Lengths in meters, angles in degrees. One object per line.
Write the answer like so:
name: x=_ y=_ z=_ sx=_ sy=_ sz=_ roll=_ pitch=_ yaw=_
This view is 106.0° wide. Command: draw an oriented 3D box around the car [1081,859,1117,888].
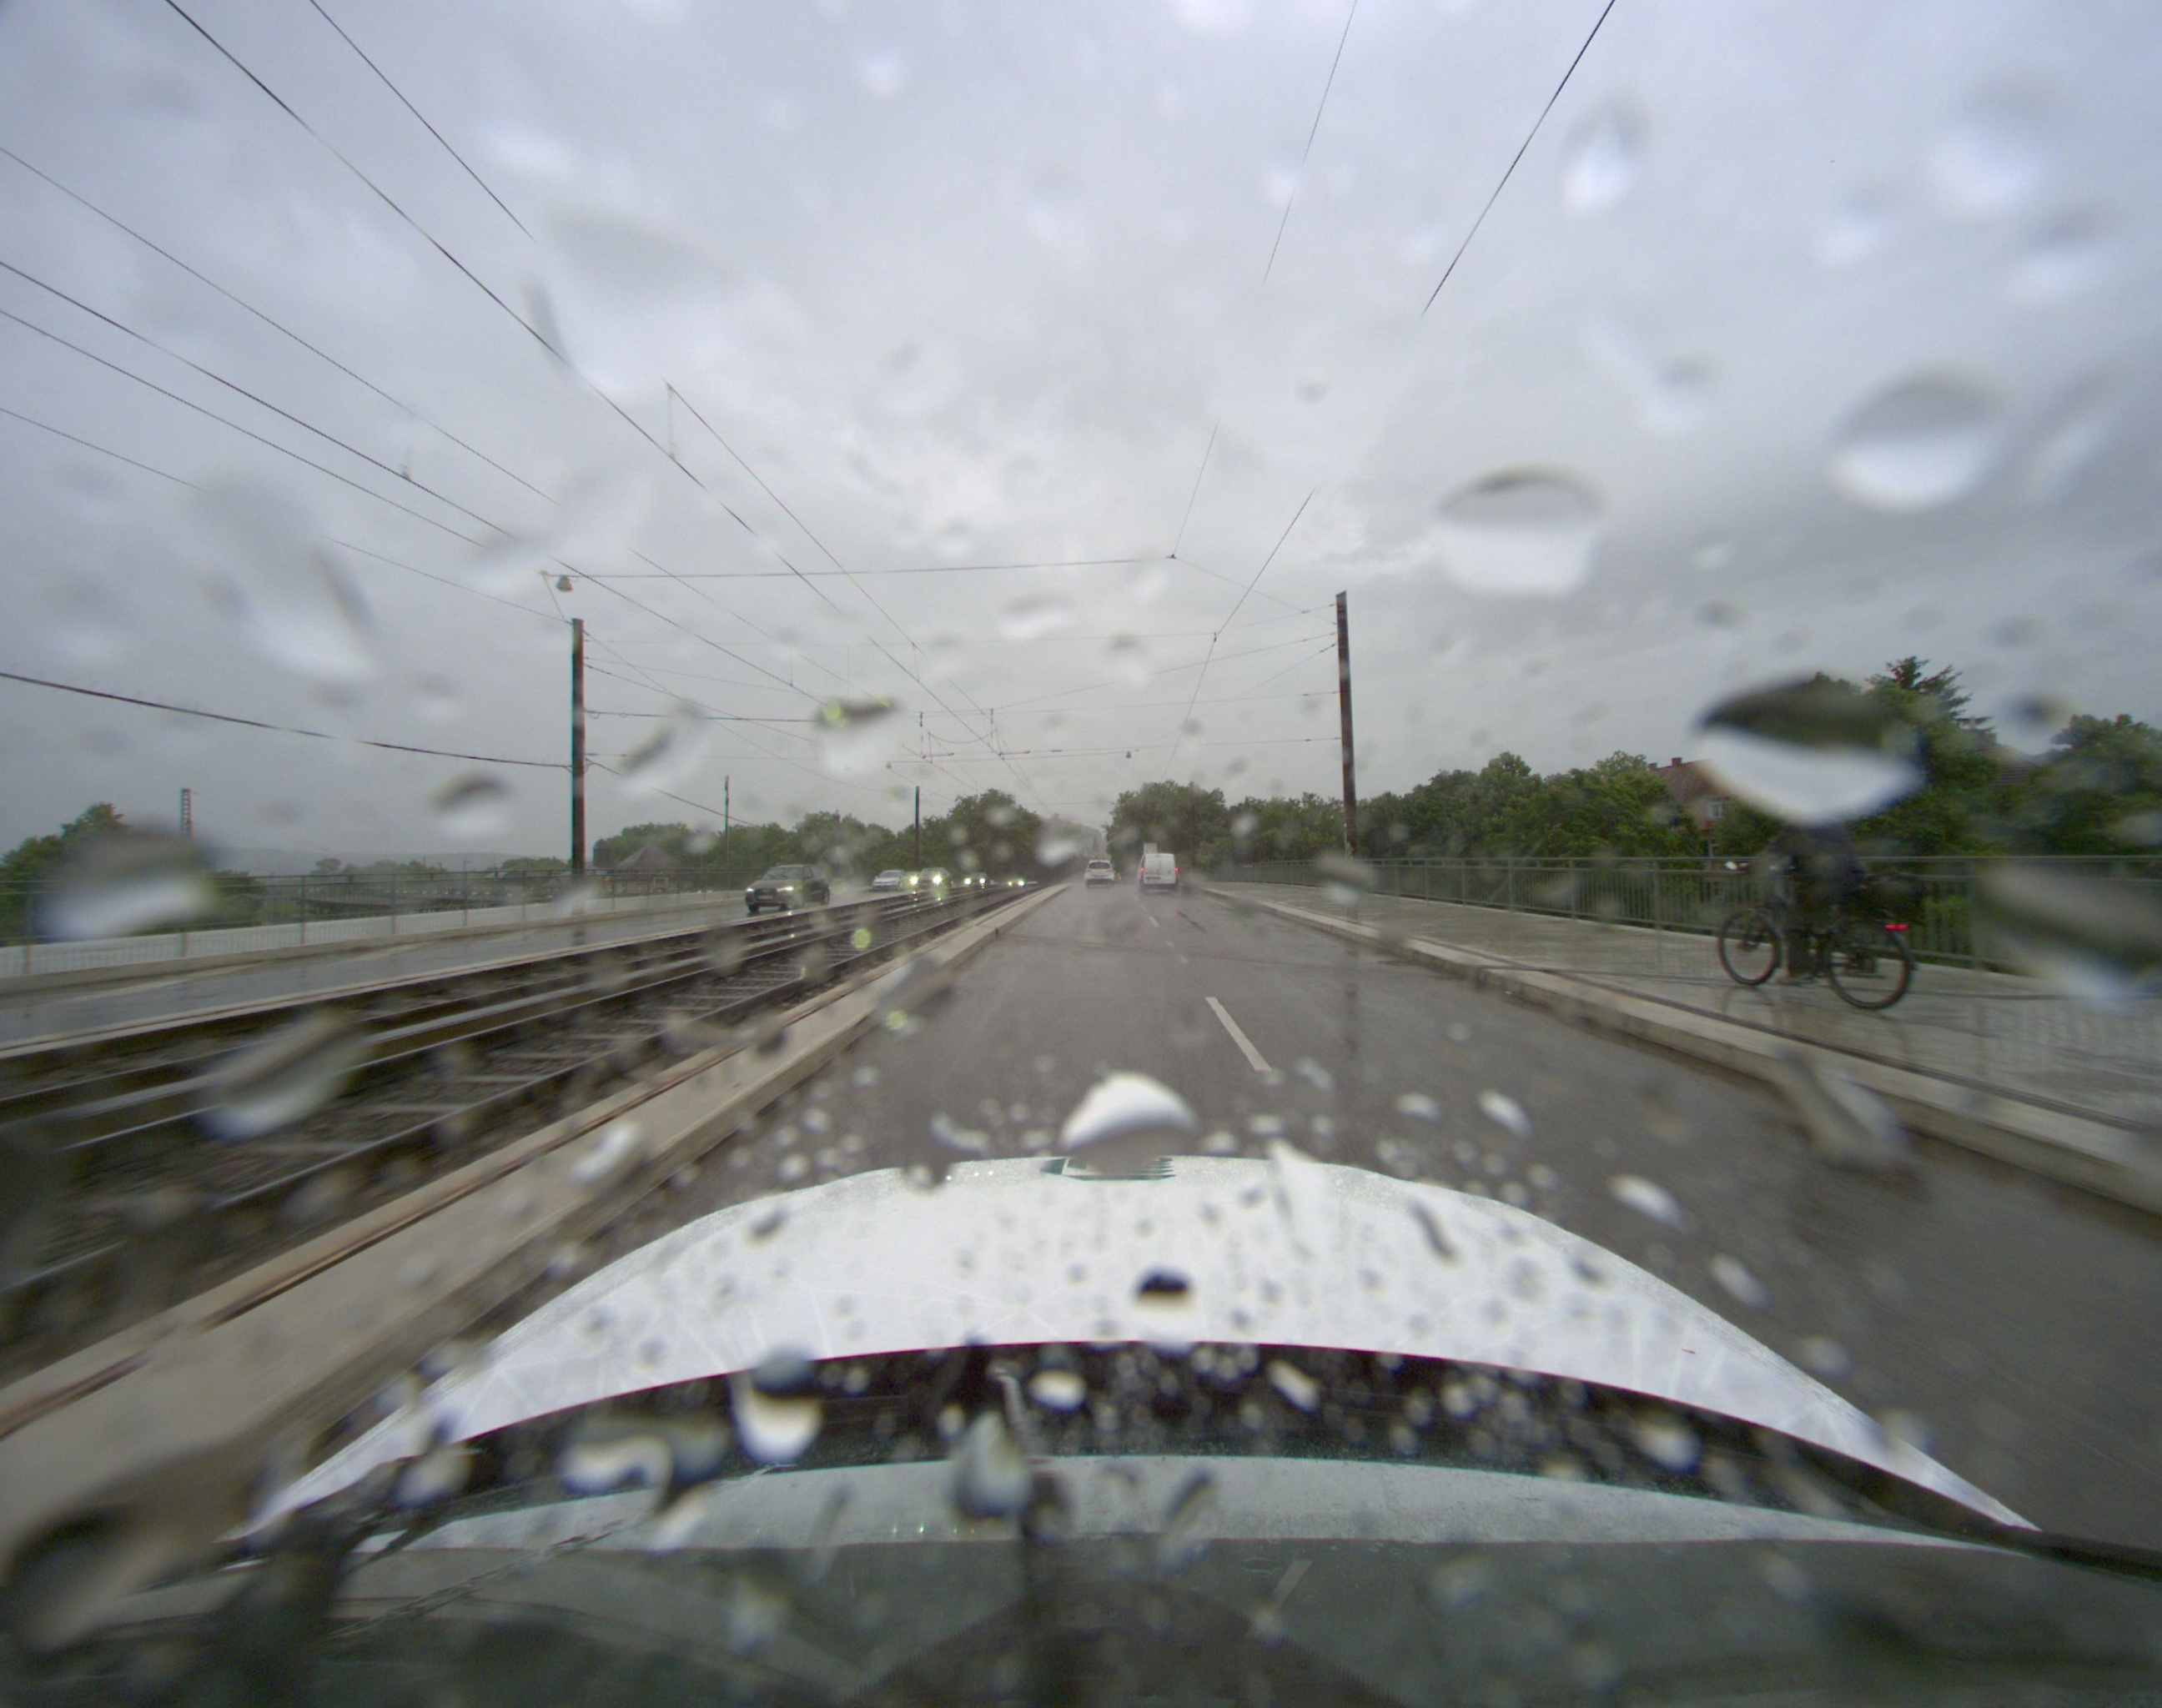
car: x=1.159 y=1.222 z=50.272 sx=1.985 sy=1.717 sz=4.003 roll=1 pitch=-2 yaw=4

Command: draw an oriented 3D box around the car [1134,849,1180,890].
car: x=3.432 y=0.741 z=37.350 sx=1.985 sy=1.726 sz=4.003 roll=1 pitch=-2 yaw=4

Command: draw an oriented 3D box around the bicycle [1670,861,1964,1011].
bicycle: x=6.379 y=0.645 z=7.278 sx=0.720 sy=1.129 sz=2.168 roll=1 pitch=-1 yaw=2

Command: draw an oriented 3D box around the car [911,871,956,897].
car: x=-9.477 y=1.904 z=52.611 sx=1.988 sy=1.509 sz=5.111 roll=-3 pitch=-2 yaw=-1

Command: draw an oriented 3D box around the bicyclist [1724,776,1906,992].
bicyclist: x=6.392 y=0.254 z=7.154 sx=0.723 sy=1.764 sz=0.949 roll=1 pitch=-2 yaw=2

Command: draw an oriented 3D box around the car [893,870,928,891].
car: x=-12.935 y=2.039 z=61.915 sx=1.615 sy=1.456 sz=4.322 roll=-3 pitch=-2 yaw=1

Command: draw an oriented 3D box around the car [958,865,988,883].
car: x=-9.593 y=1.824 z=72.826 sx=1.987 sy=1.509 sz=4.092 roll=-3 pitch=-2 yaw=1

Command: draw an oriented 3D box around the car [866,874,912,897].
car: x=-13.111 y=2.141 z=55.920 sx=1.987 sy=1.456 sz=4.620 roll=-3 pitch=-2 yaw=1

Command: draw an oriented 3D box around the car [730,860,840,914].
car: x=-10.555 y=1.171 z=29.508 sx=1.986 sy=1.717 sz=4.942 roll=-3 pitch=-2 yaw=1
